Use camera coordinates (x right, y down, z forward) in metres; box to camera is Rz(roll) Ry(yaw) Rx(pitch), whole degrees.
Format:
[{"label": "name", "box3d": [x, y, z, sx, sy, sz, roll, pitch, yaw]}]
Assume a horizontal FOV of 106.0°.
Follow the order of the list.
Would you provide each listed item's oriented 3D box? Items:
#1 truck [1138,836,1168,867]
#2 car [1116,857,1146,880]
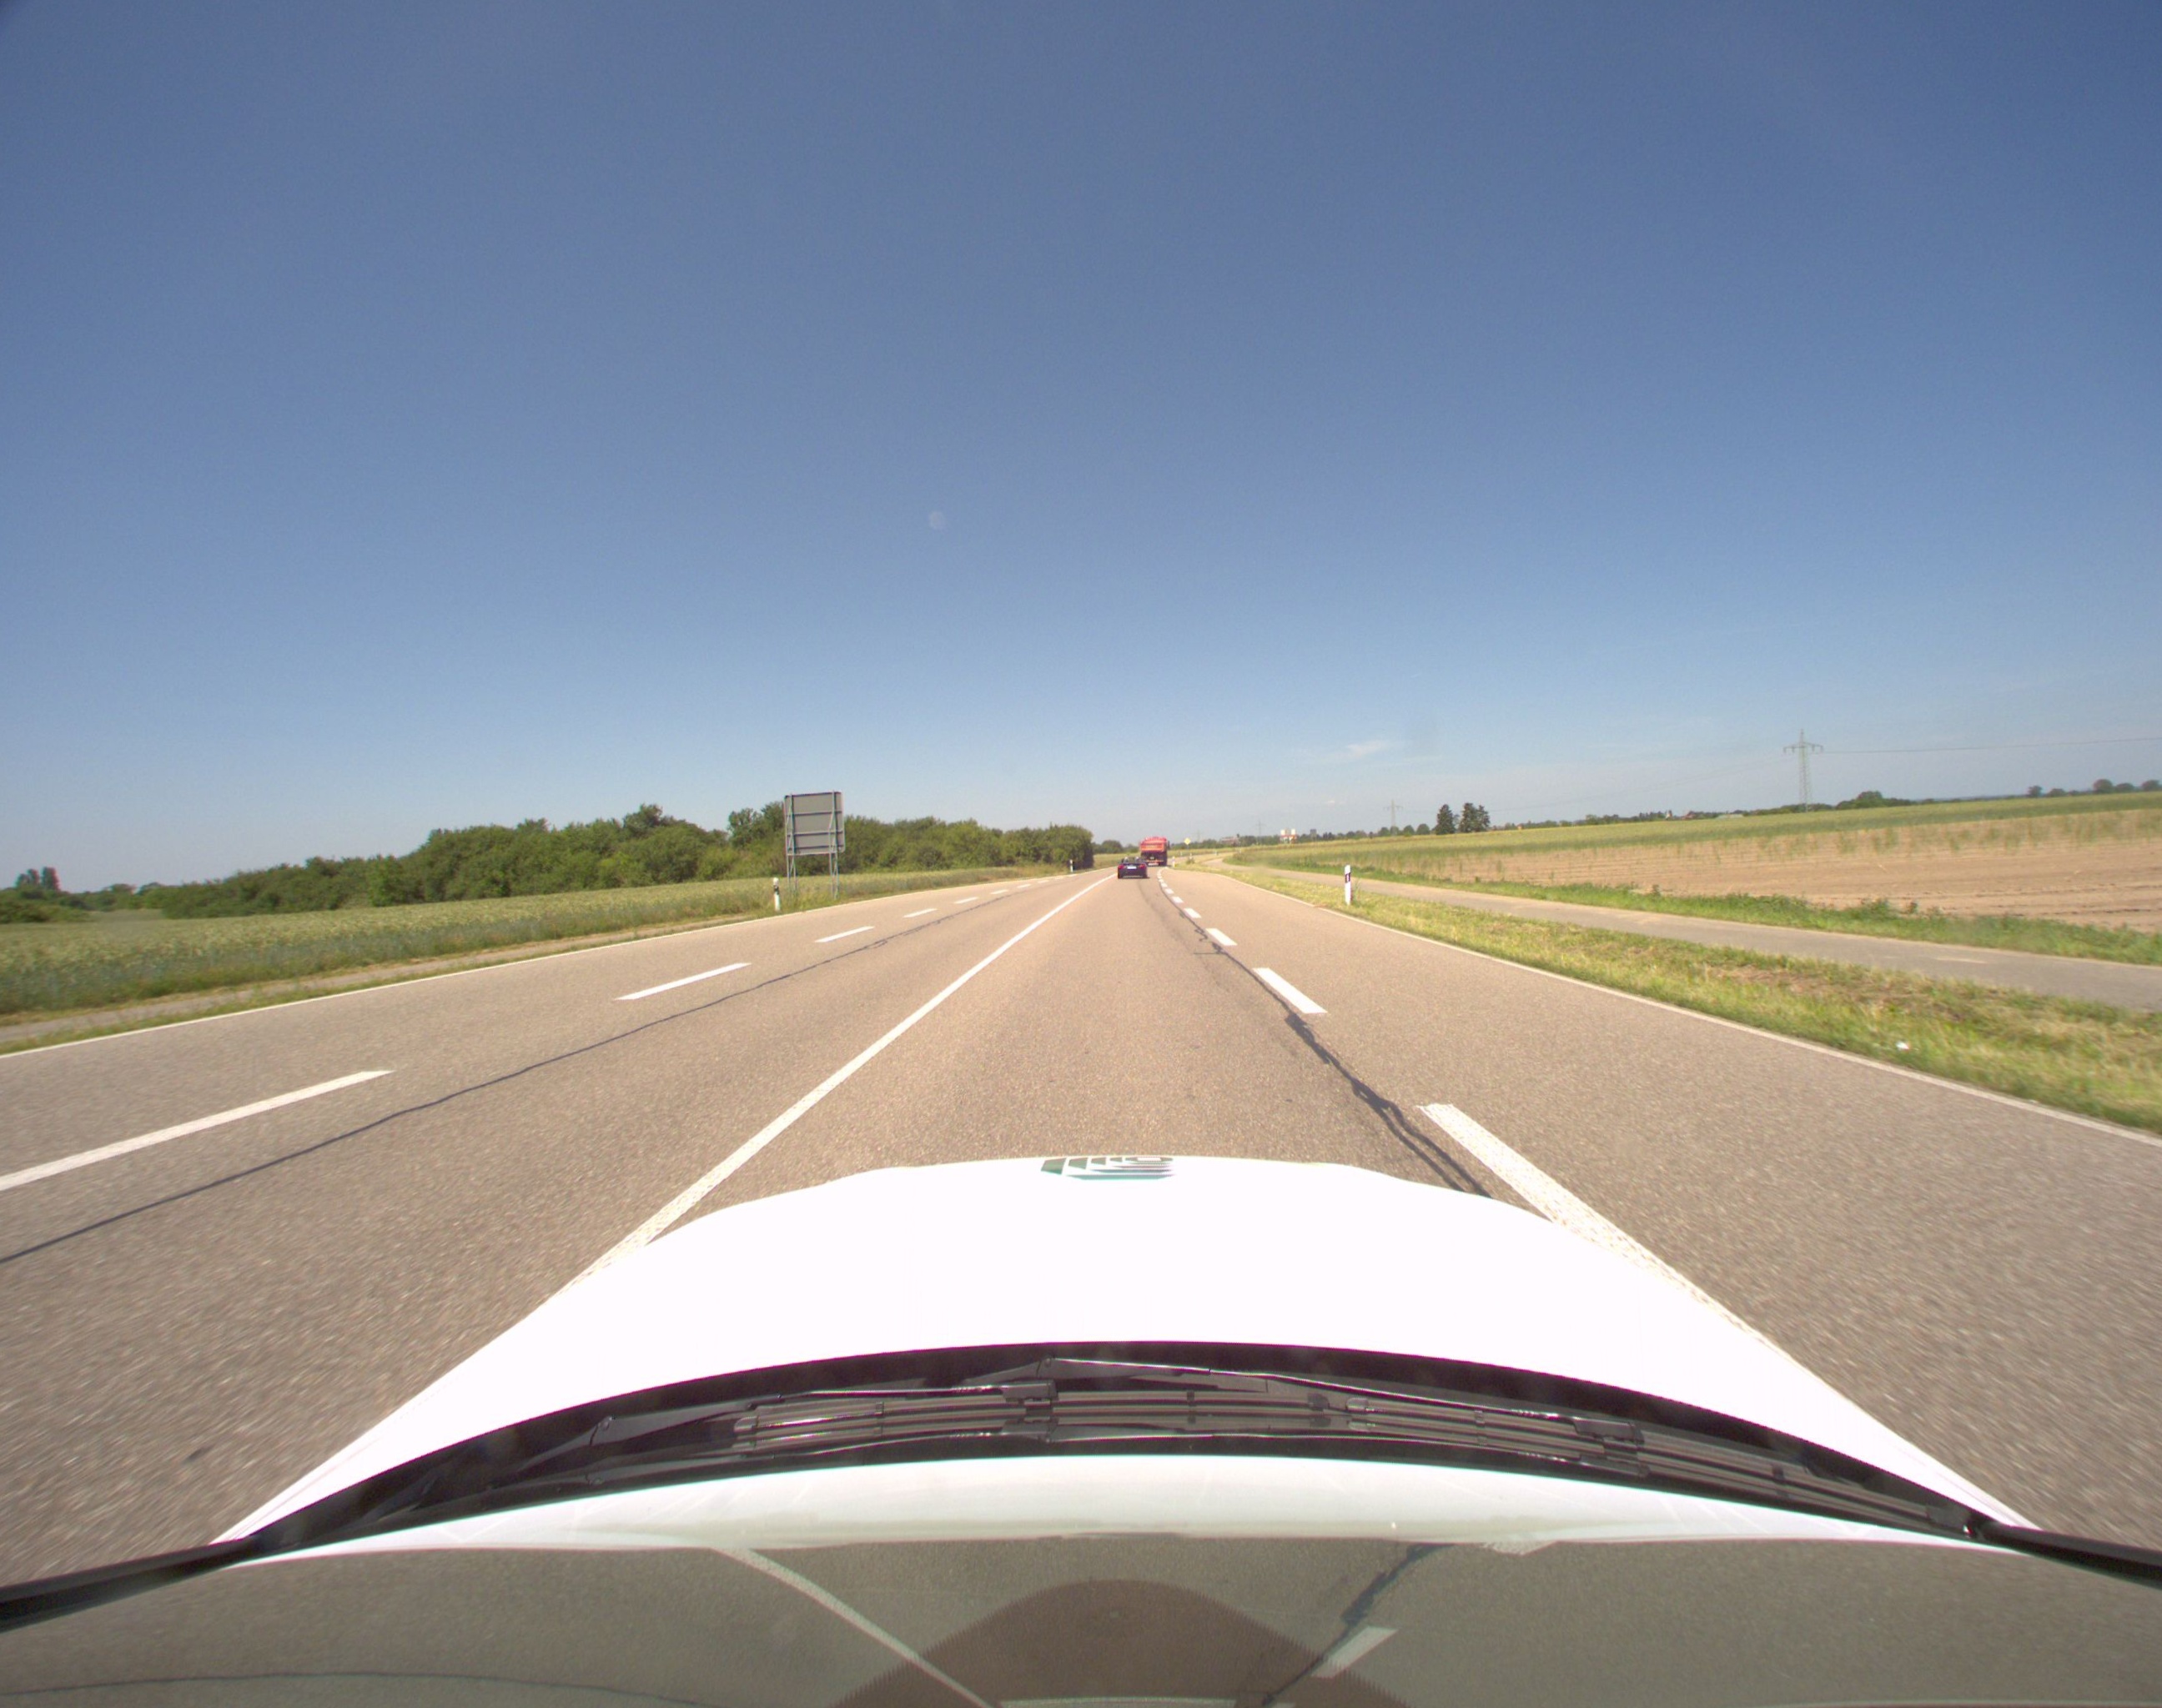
[{"label": "truck", "box3d": [7.626, -0.267, 86.158, 2.924, 3.089, 7.206, -2, 0, 5]}, {"label": "car", "box3d": [3.016, 0.848, 49.863, 1.737, 1.280, 4.002, -1, 0, 2]}]
